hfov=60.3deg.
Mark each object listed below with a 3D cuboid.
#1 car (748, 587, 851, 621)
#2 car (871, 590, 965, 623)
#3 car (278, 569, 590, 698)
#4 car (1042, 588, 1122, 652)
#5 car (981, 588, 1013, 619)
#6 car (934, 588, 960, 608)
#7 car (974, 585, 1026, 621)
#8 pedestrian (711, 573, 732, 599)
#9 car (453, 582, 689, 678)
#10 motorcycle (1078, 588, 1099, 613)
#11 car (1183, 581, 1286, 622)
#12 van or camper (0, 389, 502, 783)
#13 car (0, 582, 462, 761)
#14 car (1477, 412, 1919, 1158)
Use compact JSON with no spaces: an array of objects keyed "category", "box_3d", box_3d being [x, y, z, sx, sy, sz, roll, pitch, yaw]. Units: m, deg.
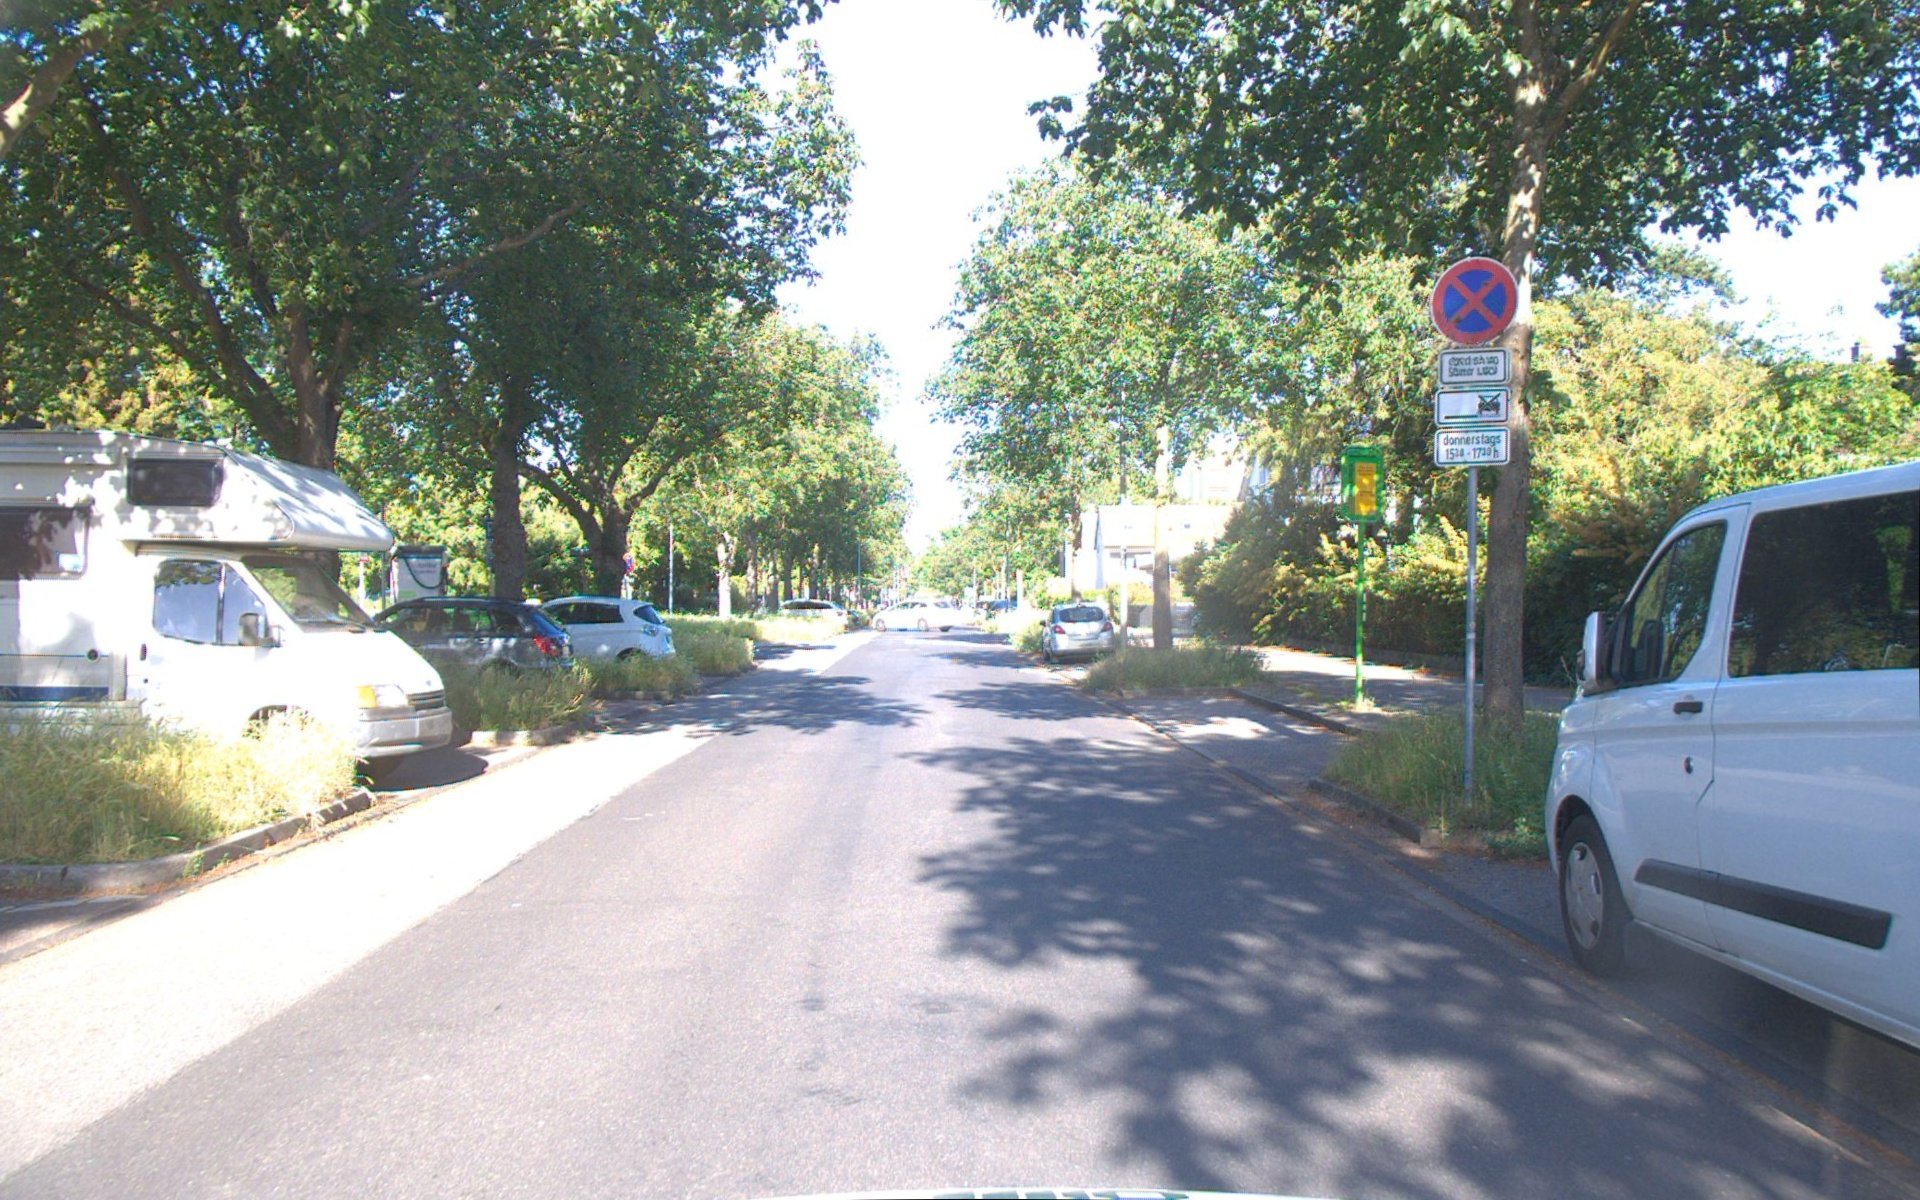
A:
[{"category":"car","box_3d":[-7.405,0.165,76.767,4.575,1.530,2.000,1,0,0]},{"category":"car","box_3d":[-2.002,0.290,77.865,4.143,1.480,1.991,1,0,38]},{"category":"car","box_3d":[-7.674,0.475,24.465,3.907,1.616,1.999,3,0,-2]},{"category":"car","box_3d":[3.207,0.510,42.820,1.951,1.537,4.002,-1,-1,6]},{"category":"car","box_3d":[2.108,0.210,94.978,1.578,1.650,4.381,3,0,-1]},{"category":"car","box_3d":[-1.081,-0.156,135.278,1.954,1.534,3.656,3,0,-3]},{"category":"car","box_3d":[1.971,0.126,83.068,1.956,1.650,4.375,3,0,-7]},{"category":"pedestrian","box_3d":[-17.342,-1.004,120.276,1.206,1.859,1.543,2,-1,-18]},{"category":"car","box_3d":[-7.104,0.530,30.502,3.907,1.690,1.966,1,0,-2]},{"category":"motorcycle","box_3d":[6.621,0.033,85.499,0.801,1.248,2.351,-1,0,-2]},{"category":"car","box_3d":[11.473,0.037,69.156,3.911,1.668,1.774,0,0,-7]},{"category":"van or camper","box_3d":[-6.999,-0.171,13.771,5.657,2.854,2.000,3,0,1]},{"category":"car","box_3d":[-7.289,0.679,16.636,3.908,1.484,1.999,3,0,-3]},{"category":"car","box_3d":[3.602,0.550,5.364,1.954,2.049,5.194,3,0,-2]}]
